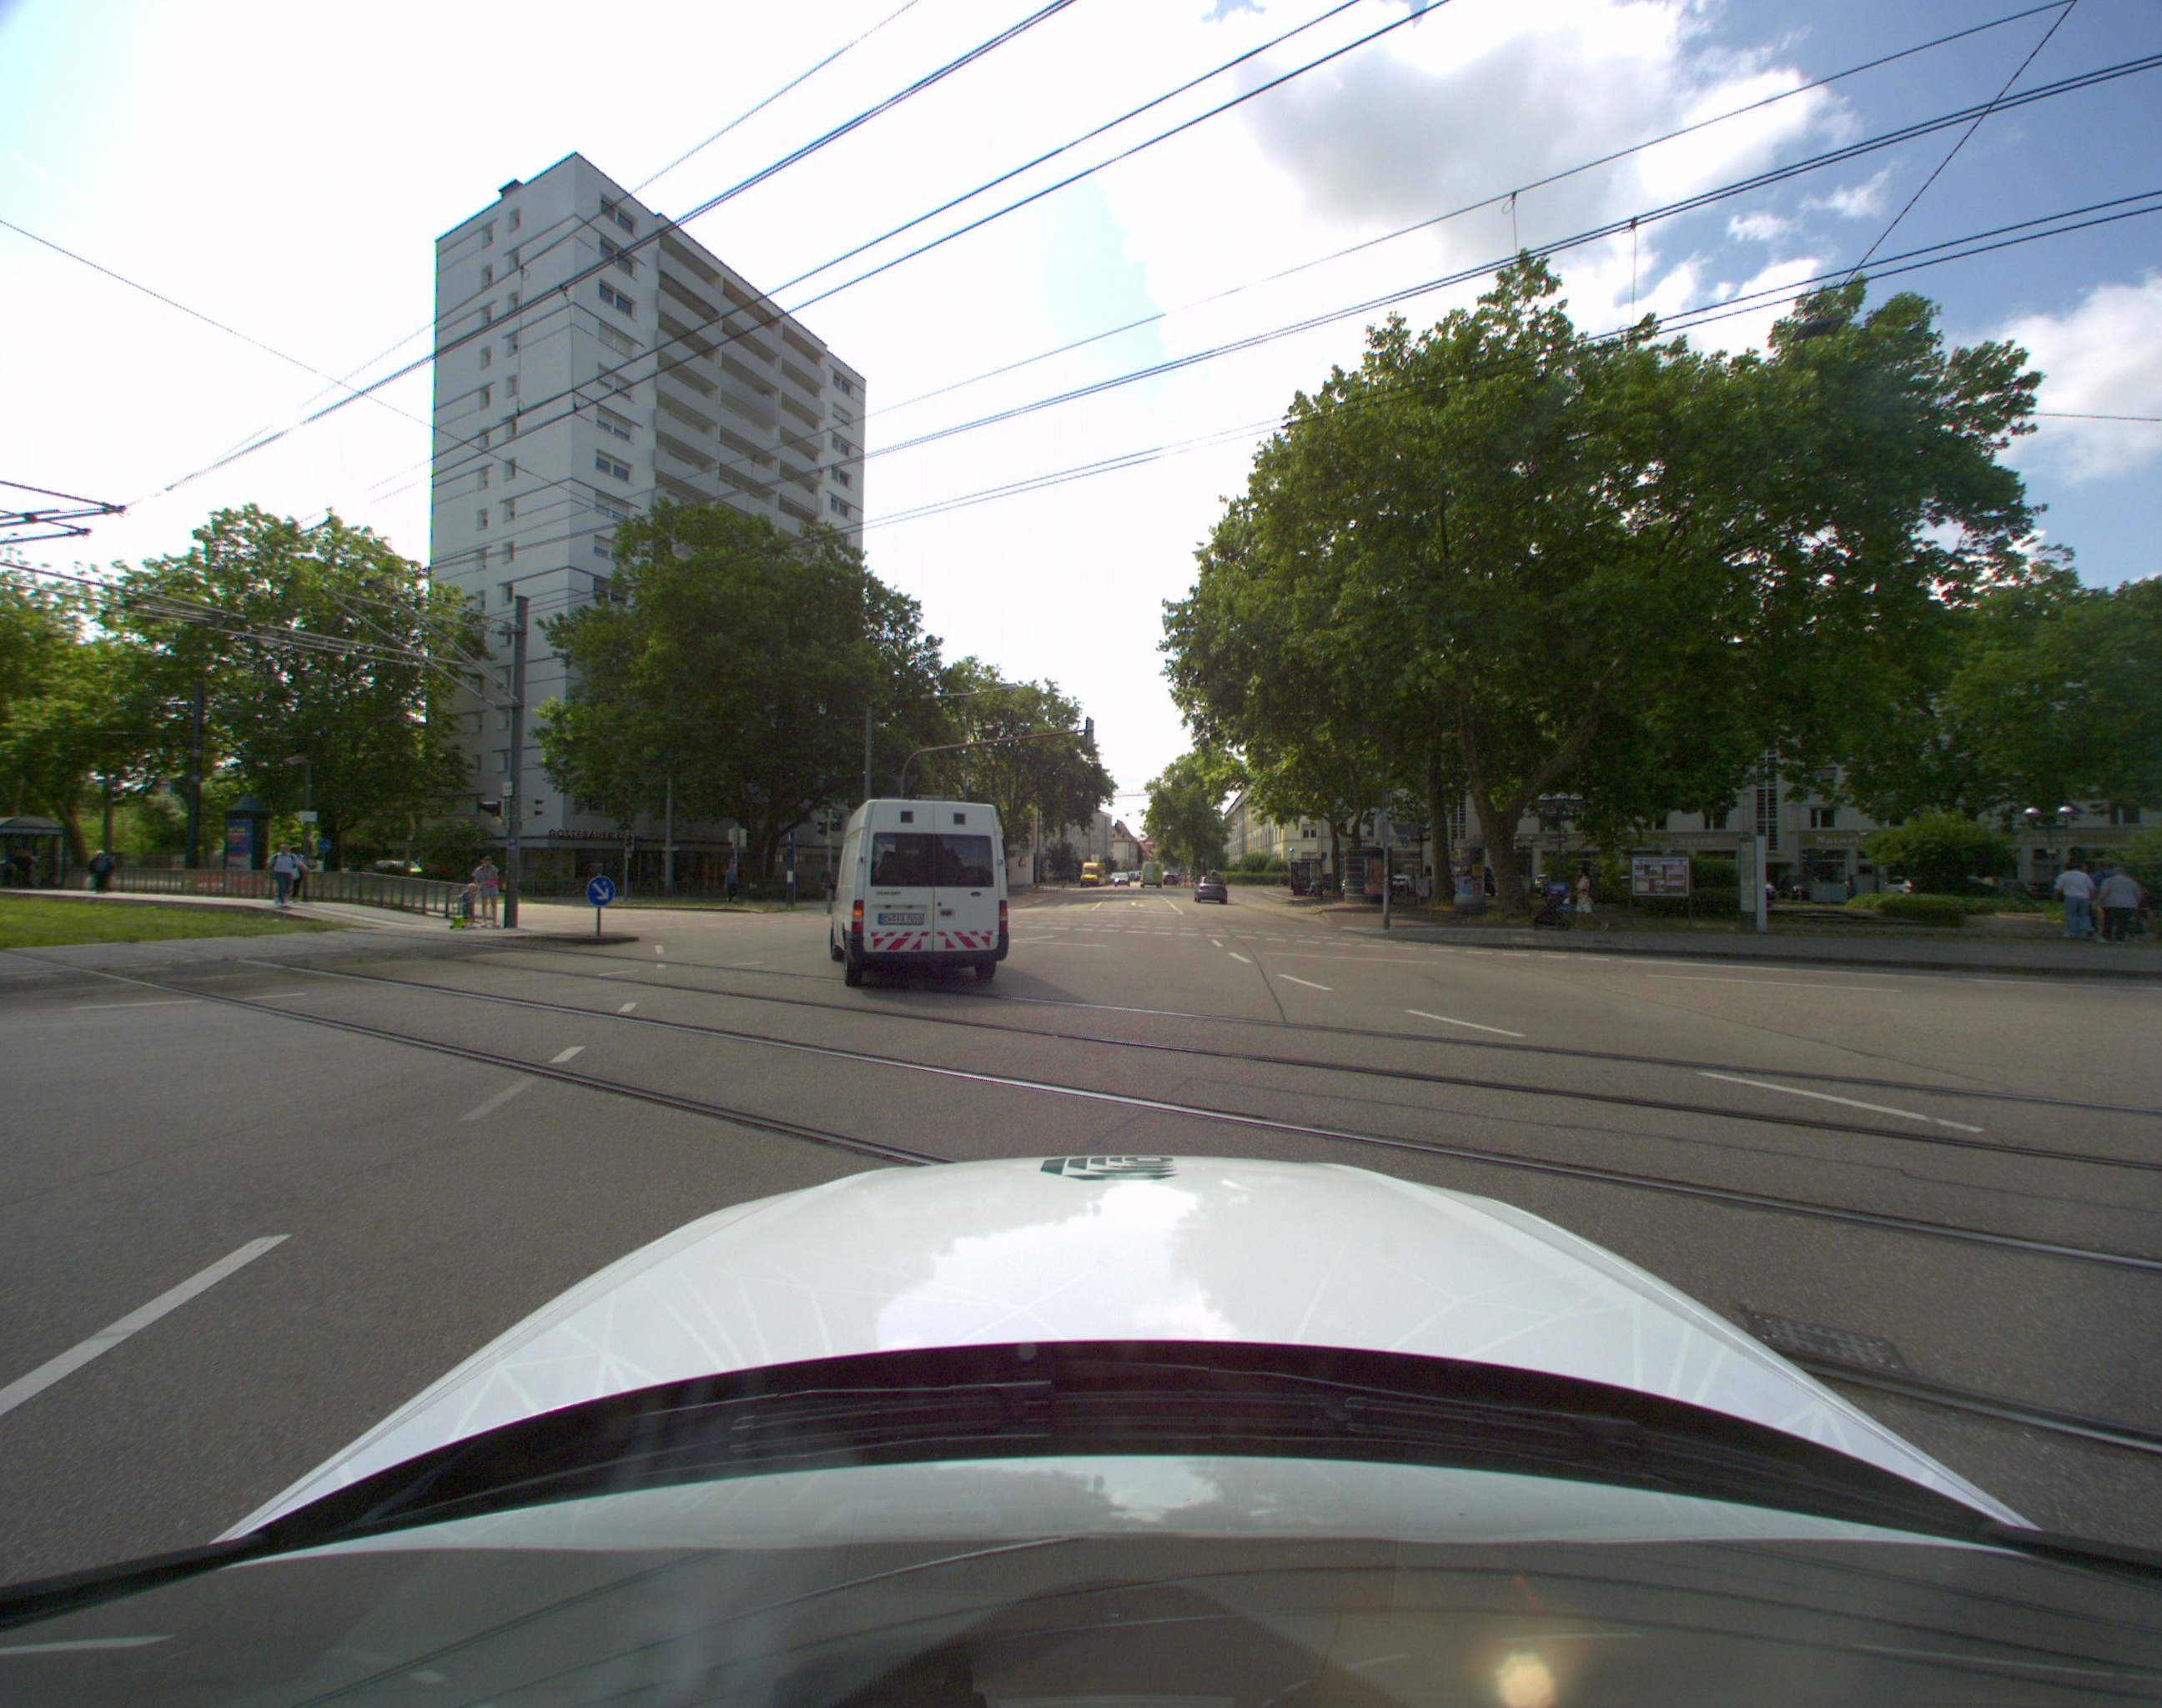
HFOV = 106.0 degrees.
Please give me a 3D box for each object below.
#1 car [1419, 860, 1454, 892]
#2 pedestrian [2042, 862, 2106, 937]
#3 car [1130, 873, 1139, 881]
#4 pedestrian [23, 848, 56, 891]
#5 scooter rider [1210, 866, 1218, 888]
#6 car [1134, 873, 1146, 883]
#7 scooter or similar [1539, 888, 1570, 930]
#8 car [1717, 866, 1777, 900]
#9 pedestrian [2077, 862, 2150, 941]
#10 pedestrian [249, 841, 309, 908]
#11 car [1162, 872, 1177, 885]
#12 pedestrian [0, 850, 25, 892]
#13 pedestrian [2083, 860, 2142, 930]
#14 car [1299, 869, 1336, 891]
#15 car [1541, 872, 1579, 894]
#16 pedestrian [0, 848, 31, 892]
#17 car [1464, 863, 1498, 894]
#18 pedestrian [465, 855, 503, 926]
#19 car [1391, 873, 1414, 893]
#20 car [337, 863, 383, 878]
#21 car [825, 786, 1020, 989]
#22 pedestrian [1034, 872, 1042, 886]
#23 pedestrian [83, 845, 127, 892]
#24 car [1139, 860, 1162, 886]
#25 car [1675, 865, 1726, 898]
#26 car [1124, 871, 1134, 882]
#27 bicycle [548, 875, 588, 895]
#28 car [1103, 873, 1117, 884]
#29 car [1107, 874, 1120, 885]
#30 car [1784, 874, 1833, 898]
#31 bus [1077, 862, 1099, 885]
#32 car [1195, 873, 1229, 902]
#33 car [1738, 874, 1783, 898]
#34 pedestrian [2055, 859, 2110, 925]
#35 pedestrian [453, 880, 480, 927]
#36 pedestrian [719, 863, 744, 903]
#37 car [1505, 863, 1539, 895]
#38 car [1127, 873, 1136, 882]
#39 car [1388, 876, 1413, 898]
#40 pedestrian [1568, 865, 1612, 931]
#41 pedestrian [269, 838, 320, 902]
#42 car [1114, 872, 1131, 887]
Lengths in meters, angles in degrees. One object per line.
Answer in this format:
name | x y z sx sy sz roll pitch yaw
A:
car | 25.188 1.571 57.587 1.975 2.183 4.282 0 -2 28
pedestrian | 23.845 1.072 19.568 0.665 1.764 0.693 0 -1 3
car | 11.075 4.785 168.609 1.692 1.661 3.756 0 -1 7
pedestrian | -45.831 0.676 35.846 0.779 1.849 0.707 -1 -2 26
scooter rider | 10.935 1.896 67.011 0.524 1.812 0.649 0 -1 3
car | 10.594 4.270 146.555 1.852 1.661 3.756 0 -1 7
scooter or similar | 12.348 1.414 21.253 0.699 1.056 0.494 0 -1 29
car | 41.353 1.765 50.644 1.975 2.014 4.023 -1 -2 26
pedestrian | 23.095 1.048 18.229 0.714 1.723 0.693 0 -1 3
pedestrian | -22.079 0.562 22.434 1.032 1.780 0.856 0 -2 27
car | 11.129 3.031 102.370 1.717 1.555 3.637 0 -1 4
pedestrian | -48.682 0.782 37.078 0.533 1.900 0.472 0 -1 2
pedestrian | 26.161 1.030 20.655 0.693 1.750 0.606 0 -1 3
car | 17.998 1.988 61.818 2.009 1.601 4.564 -1 -2 26
car | 32.063 1.936 54.583 1.975 1.422 4.024 0 -2 28
pedestrian | -46.138 0.684 35.206 0.896 1.849 0.707 -1 -2 26
car | 27.930 1.709 56.826 1.975 2.076 4.024 0 -2 28
pedestrian | -14.274 0.860 19.477 0.629 1.666 0.668 1 -2 -44
car | 23.110 2.091 58.628 1.453 1.389 3.252 0 -1 20
car | -66.569 1.526 75.173 3.996 1.402 1.823 0 -1 27
car | -2.531 0.423 11.893 2.054 2.333 4.681 1 -1 -21
pedestrian | -4.422 2.565 83.648 0.664 1.479 0.577 1 -2 11
pedestrian | -37.544 0.563 31.342 0.865 1.775 0.865 -1 -2 27
car | 7.253 1.961 85.167 2.111 2.641 6.331 0 -1 2
car | 39.223 1.716 51.674 1.975 2.014 4.024 -1 -2 29
car | 9.035 4.287 153.745 1.643 1.932 3.756 0 -1 7
bicycle | -26.612 1.617 42.251 1.736 1.009 0.528 1 -2 -36
car | 4.104 3.441 114.690 1.836 1.562 4.006 0 -1 5
car | 5.133 3.953 128.229 1.719 1.661 3.756 0 -1 7
car | 50.984 2.234 57.134 1.722 1.637 4.024 -1 -2 29
bus | 0.880 2.334 97.416 2.385 2.709 6.372 0 -1 2
car | 7.372 1.856 46.132 1.683 1.538 3.473 0 0 6
car | 48.674 2.257 58.396 1.722 1.637 4.024 -1 -2 29
pedestrian | 26.929 1.020 21.908 0.693 1.750 0.606 0 -1 4
pedestrian | -14.252 1.135 18.885 0.423 1.063 0.431 2 -2 -44
pedestrian | -14.407 1.186 33.543 0.775 1.599 0.538 0 -1 24
car | 29.943 1.681 55.387 1.975 2.076 4.024 0 -2 28
car | 10.079 4.616 161.627 1.651 1.661 3.756 0 -1 7
car | 21.536 2.190 54.950 1.453 1.389 3.081 0 -1 19
pedestrian | 13.037 1.109 20.872 0.911 1.646 0.573 0 -1 29
pedestrian | -23.999 0.486 24.859 0.836 1.899 0.834 -1 -2 27
car | 4.874 3.004 95.744 1.778 1.661 4.322 0 -1 5
